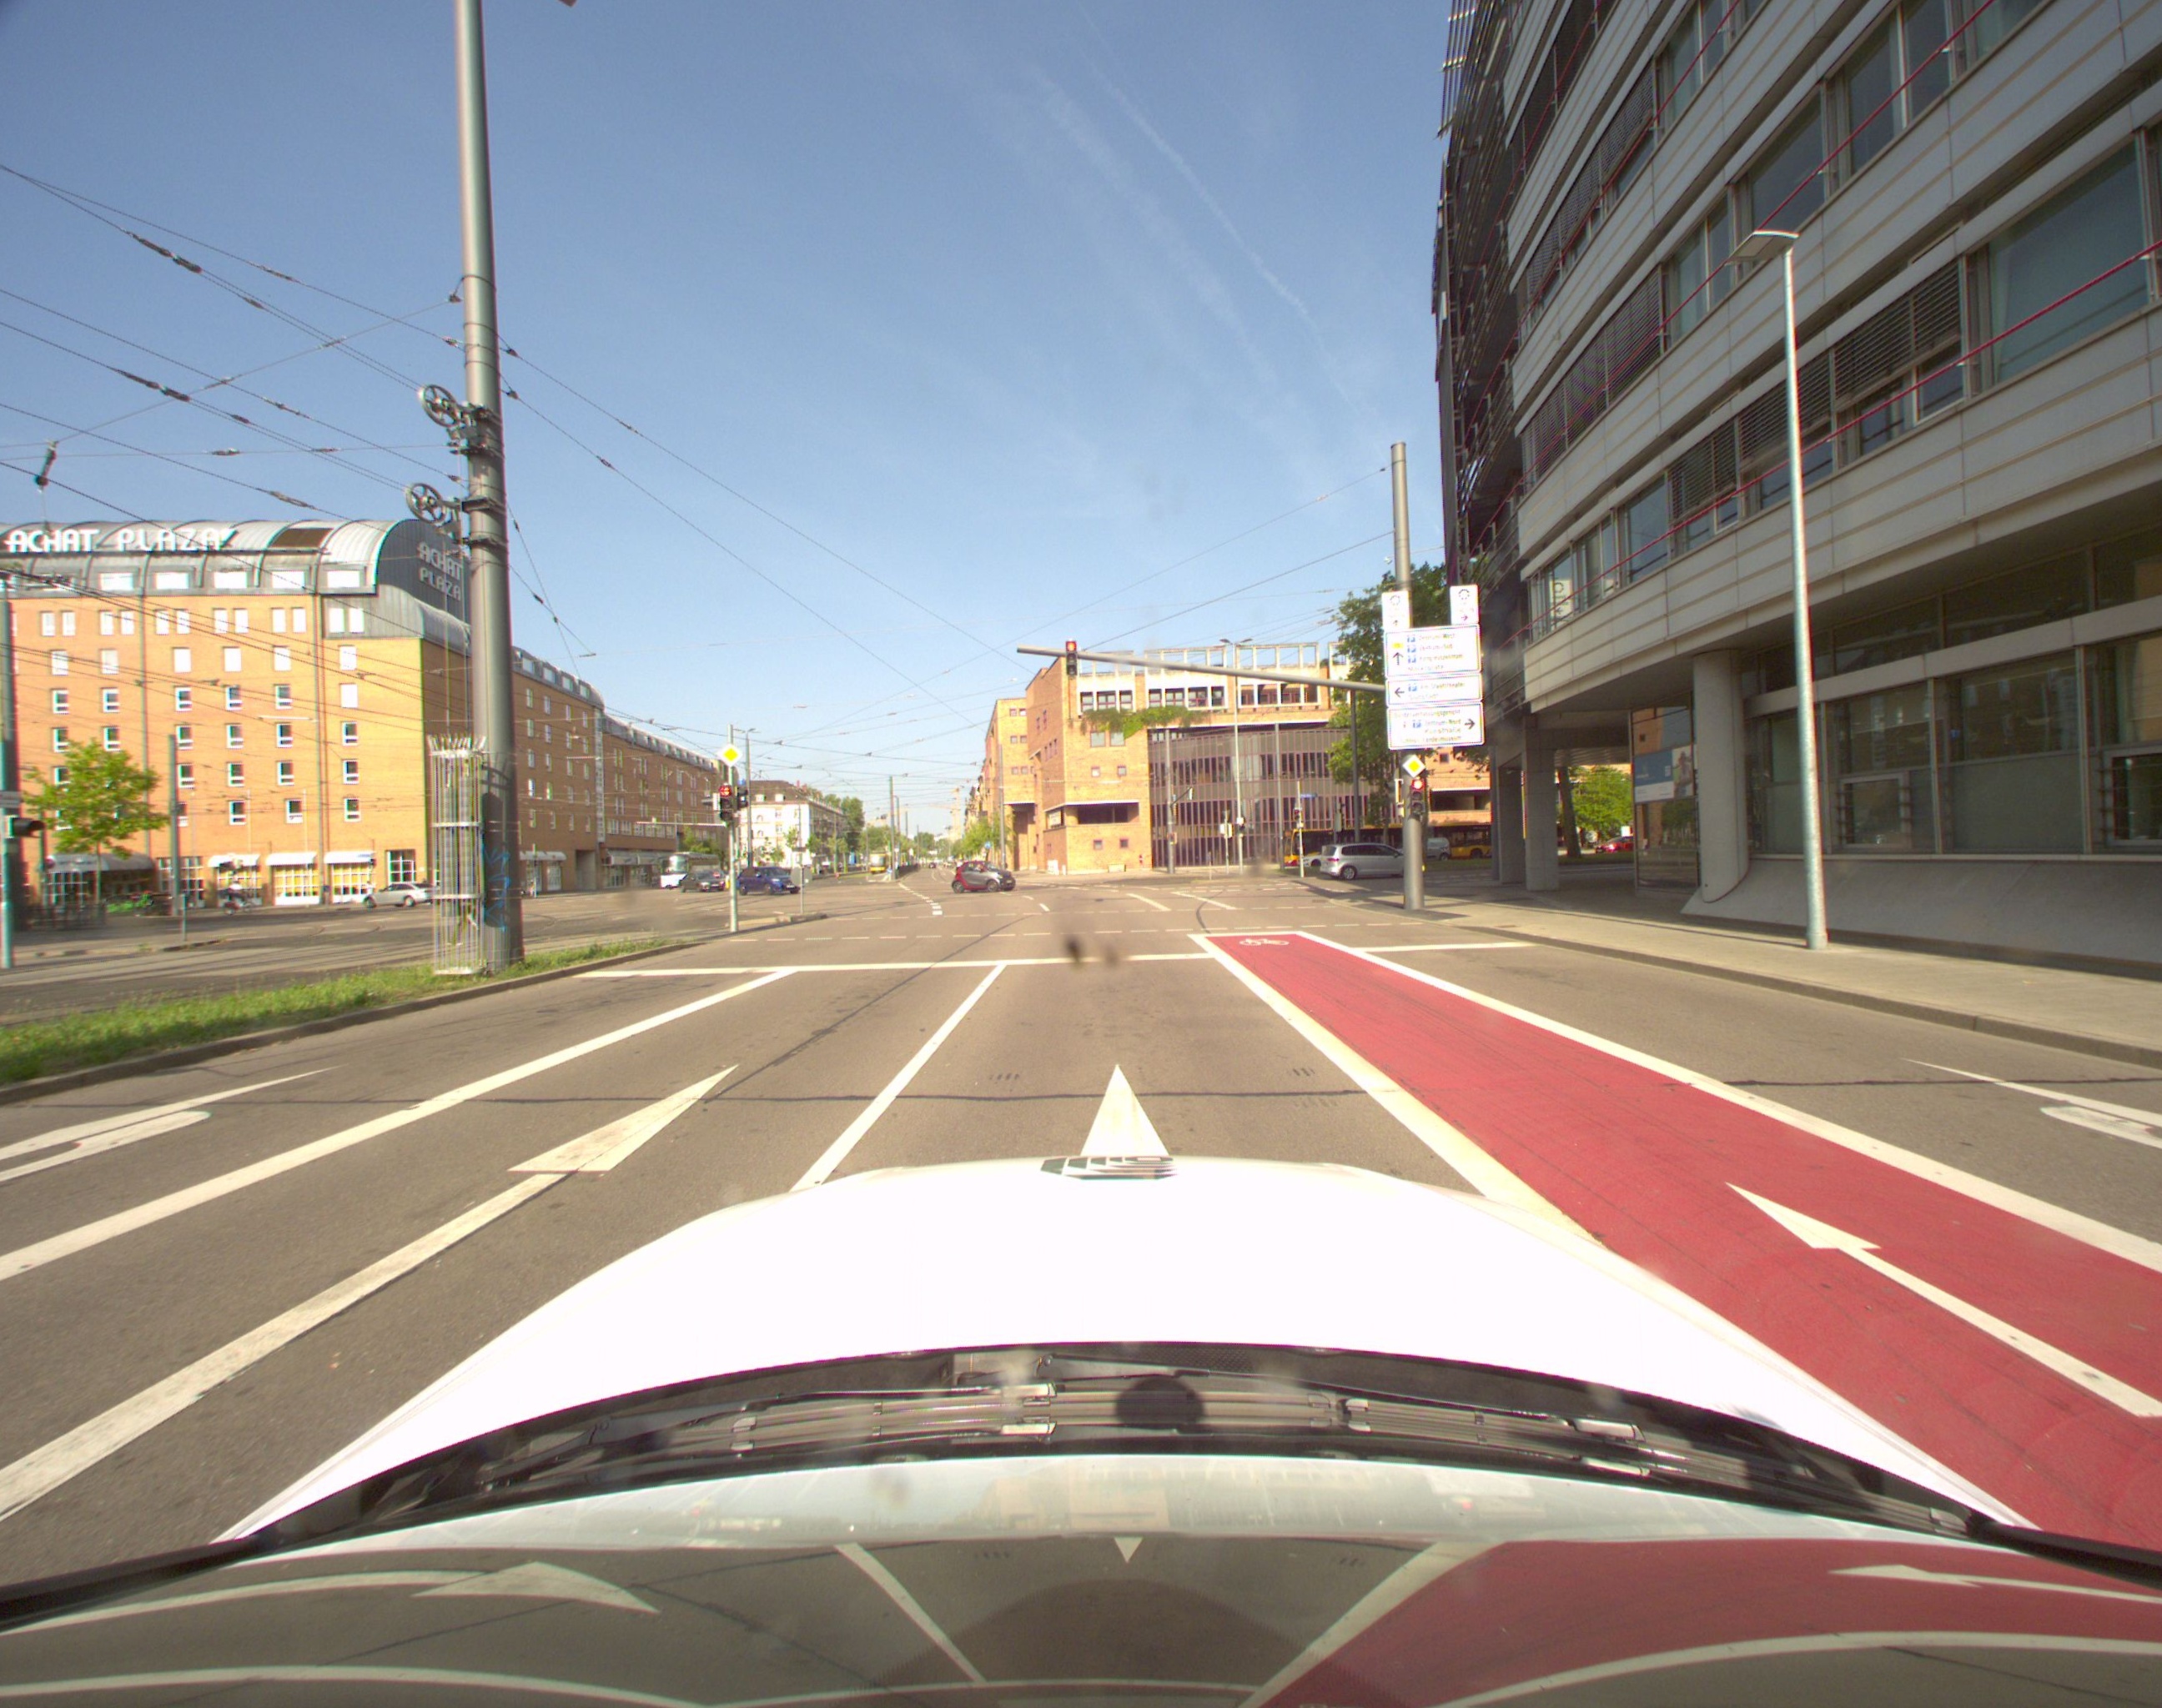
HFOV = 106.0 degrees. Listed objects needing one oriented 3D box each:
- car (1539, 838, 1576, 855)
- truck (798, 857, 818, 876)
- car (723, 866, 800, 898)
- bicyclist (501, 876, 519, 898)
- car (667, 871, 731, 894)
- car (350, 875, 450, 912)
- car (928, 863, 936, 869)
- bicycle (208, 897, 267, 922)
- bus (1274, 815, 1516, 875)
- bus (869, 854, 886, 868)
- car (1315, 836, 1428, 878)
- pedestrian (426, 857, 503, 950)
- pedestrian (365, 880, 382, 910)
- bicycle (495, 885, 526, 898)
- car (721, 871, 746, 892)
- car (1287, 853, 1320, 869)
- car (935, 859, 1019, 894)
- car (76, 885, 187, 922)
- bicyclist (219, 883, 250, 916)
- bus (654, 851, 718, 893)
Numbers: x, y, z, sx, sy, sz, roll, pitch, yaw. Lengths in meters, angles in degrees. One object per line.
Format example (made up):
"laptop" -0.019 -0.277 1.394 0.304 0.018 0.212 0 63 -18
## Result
"car" 33.699 -0.513 57.609 2.233 1.111 0.722 -2 -2 -3
"truck" -39.863 1.813 119.076 1.994 2.598 4.723 -2 -1 -10
"car" -17.957 1.568 45.638 4.356 1.636 2.005 -3 -2 37
"bicyclist" -44.851 2.605 63.997 0.988 1.696 0.667 -2 -2 -14
"car" -26.614 1.991 56.727 4.167 1.487 2.012 -3 -2 29
"car" -40.378 2.329 48.332 4.571 2.013 2.006 -2 0 10
"car" -38.792 3.179 211.838 2.074 1.542 4.397 -2 -2 -11
"bicycle" -46.562 3.047 44.975 0.544 1.206 2.296 -2 -2 14
"bus" 23.322 -0.652 60.506 17.601 3.811 2.856 -2 -2 -9
"bus" -29.921 1.005 119.790 1.993 2.013 3.987 -2 0 -9
"car" 12.834 0.123 36.105 4.370 1.634 1.687 -2 1 -5
"pedestrian" -13.978 1.102 18.494 1.156 2.014 0.773 -2 -2 -12
"pedestrian" -47.799 2.744 54.997 0.753 1.953 0.874 -2 0 -37
"bicycle" -44.814 2.967 63.998 1.963 0.970 0.418 -2 -2 -14
"car" -33.396 2.642 78.297 1.601 2.014 2.720 -2 -2 -9
"car" 15.049 0.462 55.115 1.945 0.958 1.093 -2 0 -1
"car" -5.014 1.090 39.148 3.559 1.492 1.712 -3 0 23
"car" -56.318 2.906 48.380 3.983 2.014 1.995 -2 -2 -7
"bicyclist" -46.611 2.498 44.860 0.660 1.747 0.971 -2 -2 14
"bus" -40.424 1.934 83.903 2.747 3.921 12.169 -2 -2 -11
